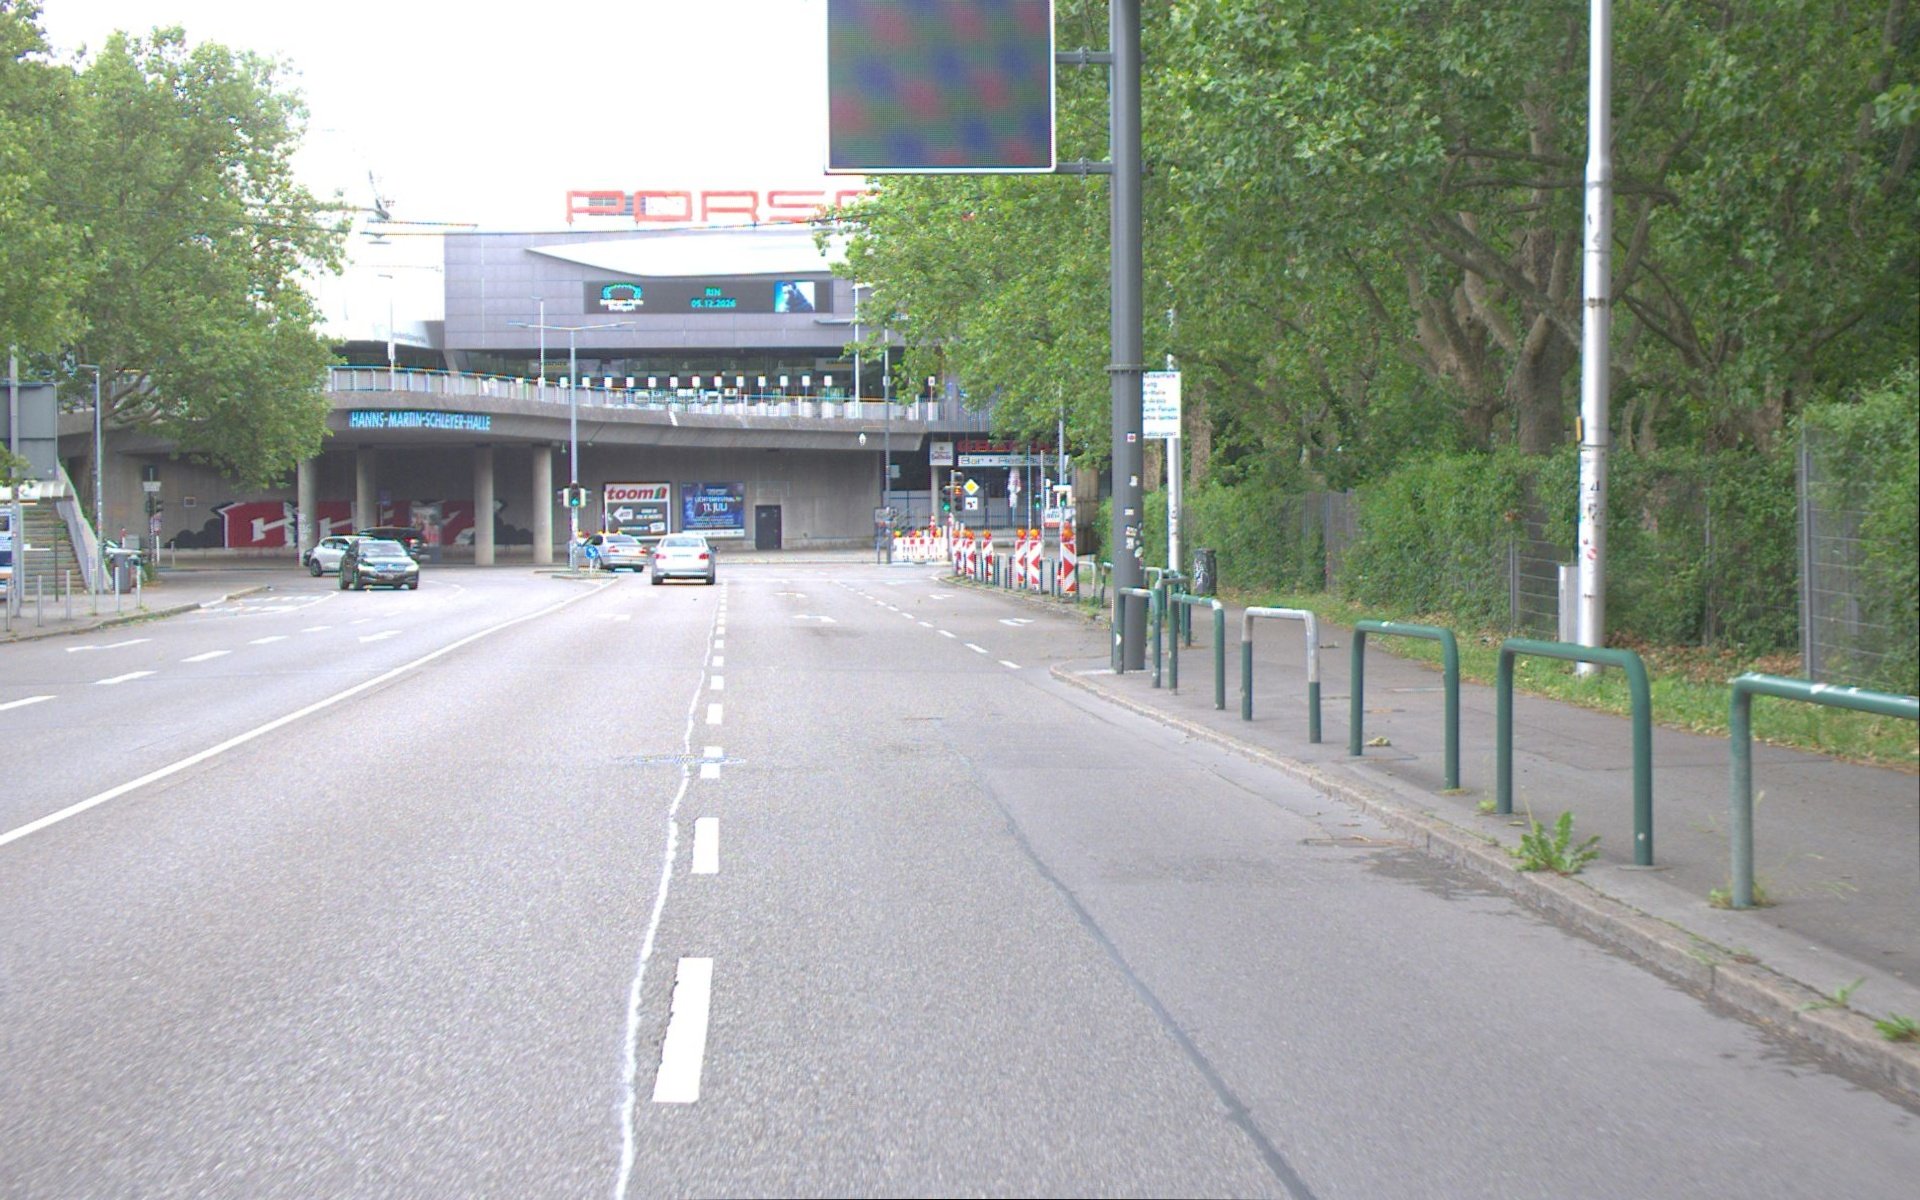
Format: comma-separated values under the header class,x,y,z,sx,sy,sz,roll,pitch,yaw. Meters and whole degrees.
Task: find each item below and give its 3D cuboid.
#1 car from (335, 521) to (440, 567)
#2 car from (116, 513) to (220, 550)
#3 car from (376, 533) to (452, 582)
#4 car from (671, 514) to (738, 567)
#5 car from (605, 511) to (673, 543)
class,x,y,z,sx,sy,sz,roll,pitch,yaw
car,-20.105,-1.973,120.617,3.879,1.573,1.622,1,2,44
car,-31.048,-2.693,134.780,3.644,1.368,1.749,0,2,22
car,-15.692,-1.233,98.752,1.655,1.268,3.585,1,2,-17
car,-7.495,-1.764,101.016,1.778,1.455,3.822,1,2,-2
car,-11.763,-2.679,126.024,1.411,1.109,3.038,0,2,-28
